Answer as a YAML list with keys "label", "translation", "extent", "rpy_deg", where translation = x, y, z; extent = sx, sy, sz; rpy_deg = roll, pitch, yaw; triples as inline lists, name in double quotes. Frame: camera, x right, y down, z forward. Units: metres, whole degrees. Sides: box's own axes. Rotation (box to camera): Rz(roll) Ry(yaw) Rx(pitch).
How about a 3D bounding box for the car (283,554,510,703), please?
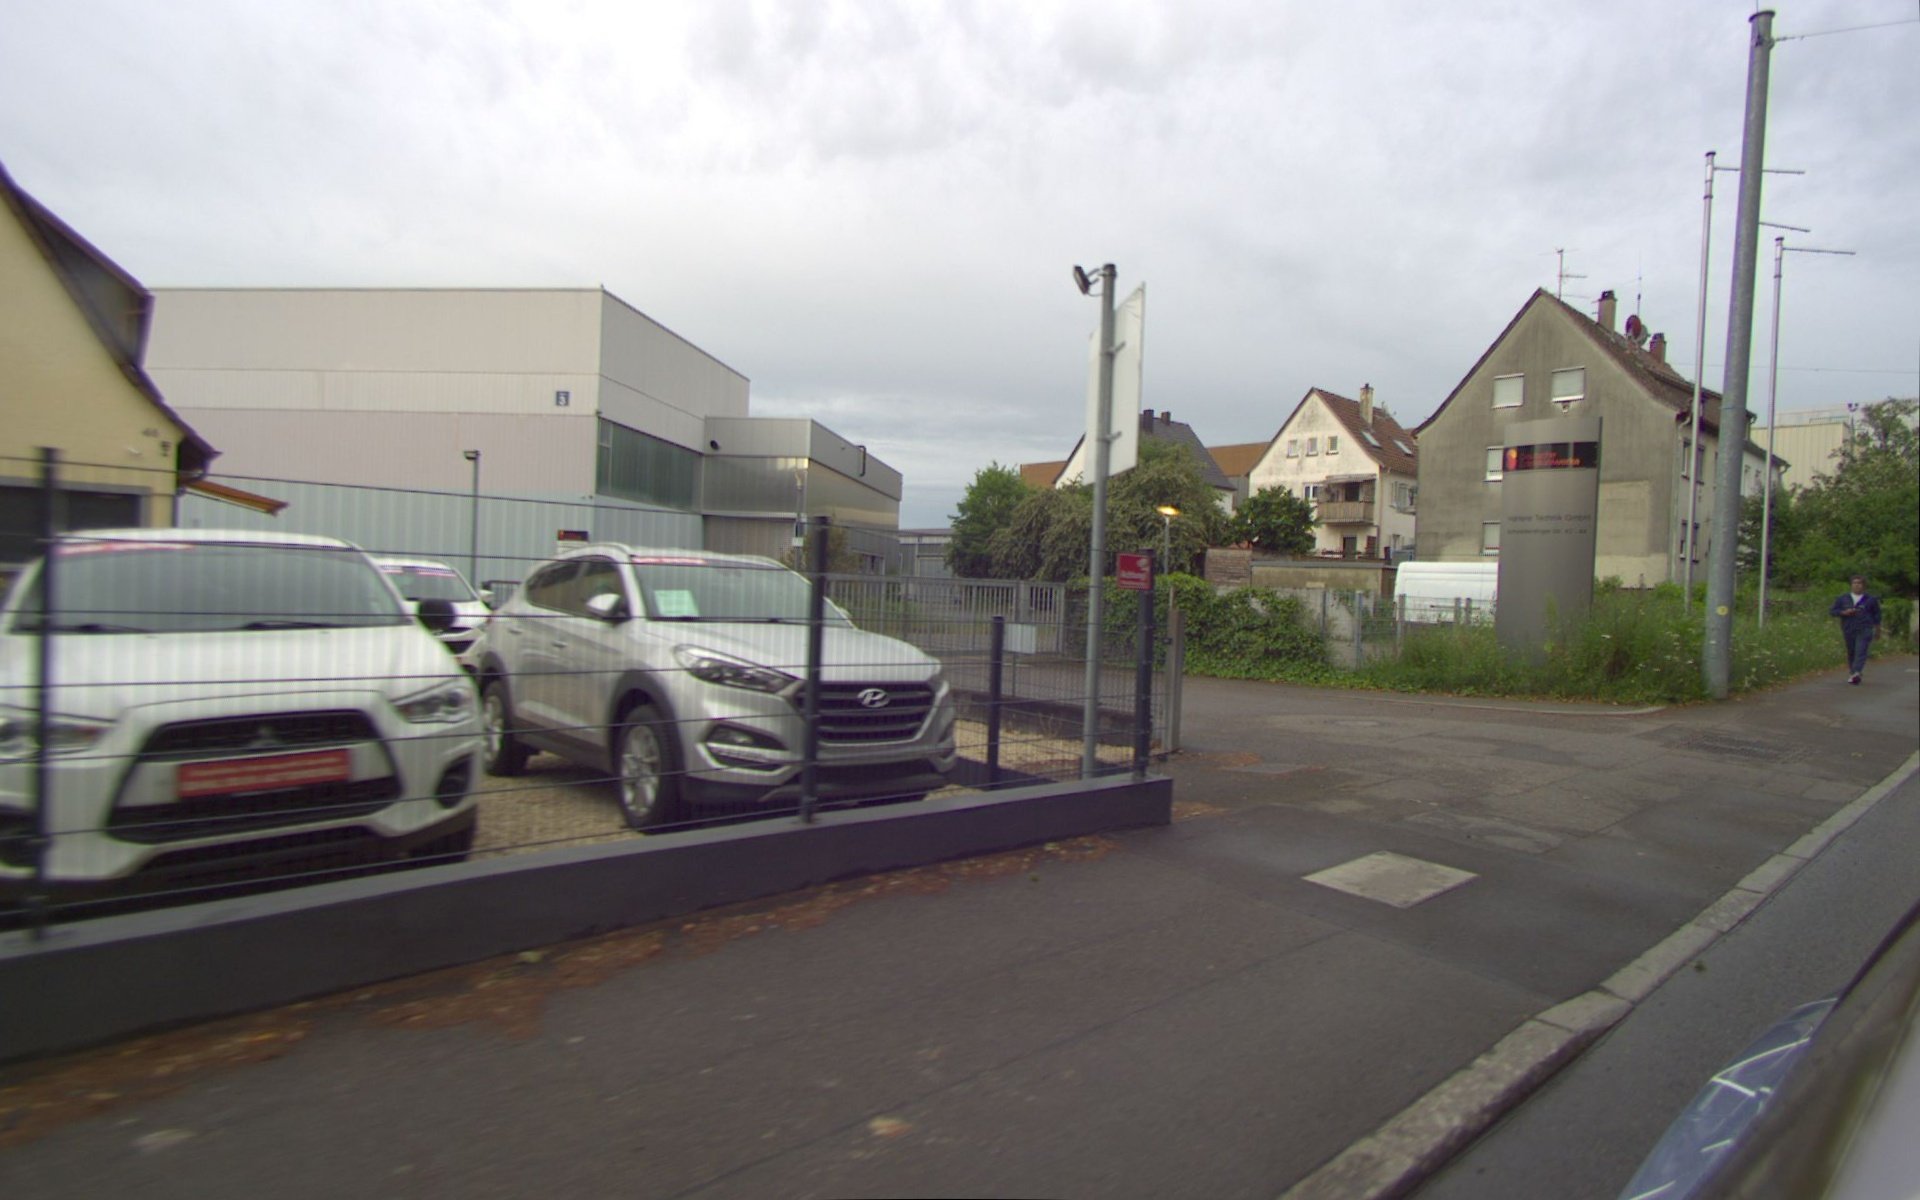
- label: "car"
  translation: [-7.670, 0.243, 13.548]
  extent: [1.837, 1.647, 4.513]
  rpy_deg: [0, 2, -40]

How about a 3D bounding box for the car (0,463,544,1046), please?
- label: "car"
  translation: [-3.607, 0.447, 5.007]
  extent: [1.760, 1.746, 3.956]
  rpy_deg: [0, 0, -40]

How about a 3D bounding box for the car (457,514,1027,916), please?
- label: "car"
  translation: [-1.749, 0.473, 6.802]
  extent: [1.965, 1.790, 4.311]
  rpy_deg: [-1, 1, -40]

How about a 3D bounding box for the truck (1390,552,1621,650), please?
- label: "truck"
  translation: [16.381, 0.002, 30.717]
  extent: [2.008, 2.670, 5.855]
  rpy_deg: [-1, 1, -40]

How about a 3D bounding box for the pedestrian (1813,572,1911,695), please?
- label: "pedestrian"
  translation: [14.765, 0.510, 16.575]
  extent: [0.885, 1.920, 1.045]
  rpy_deg: [-1, 2, -40]
